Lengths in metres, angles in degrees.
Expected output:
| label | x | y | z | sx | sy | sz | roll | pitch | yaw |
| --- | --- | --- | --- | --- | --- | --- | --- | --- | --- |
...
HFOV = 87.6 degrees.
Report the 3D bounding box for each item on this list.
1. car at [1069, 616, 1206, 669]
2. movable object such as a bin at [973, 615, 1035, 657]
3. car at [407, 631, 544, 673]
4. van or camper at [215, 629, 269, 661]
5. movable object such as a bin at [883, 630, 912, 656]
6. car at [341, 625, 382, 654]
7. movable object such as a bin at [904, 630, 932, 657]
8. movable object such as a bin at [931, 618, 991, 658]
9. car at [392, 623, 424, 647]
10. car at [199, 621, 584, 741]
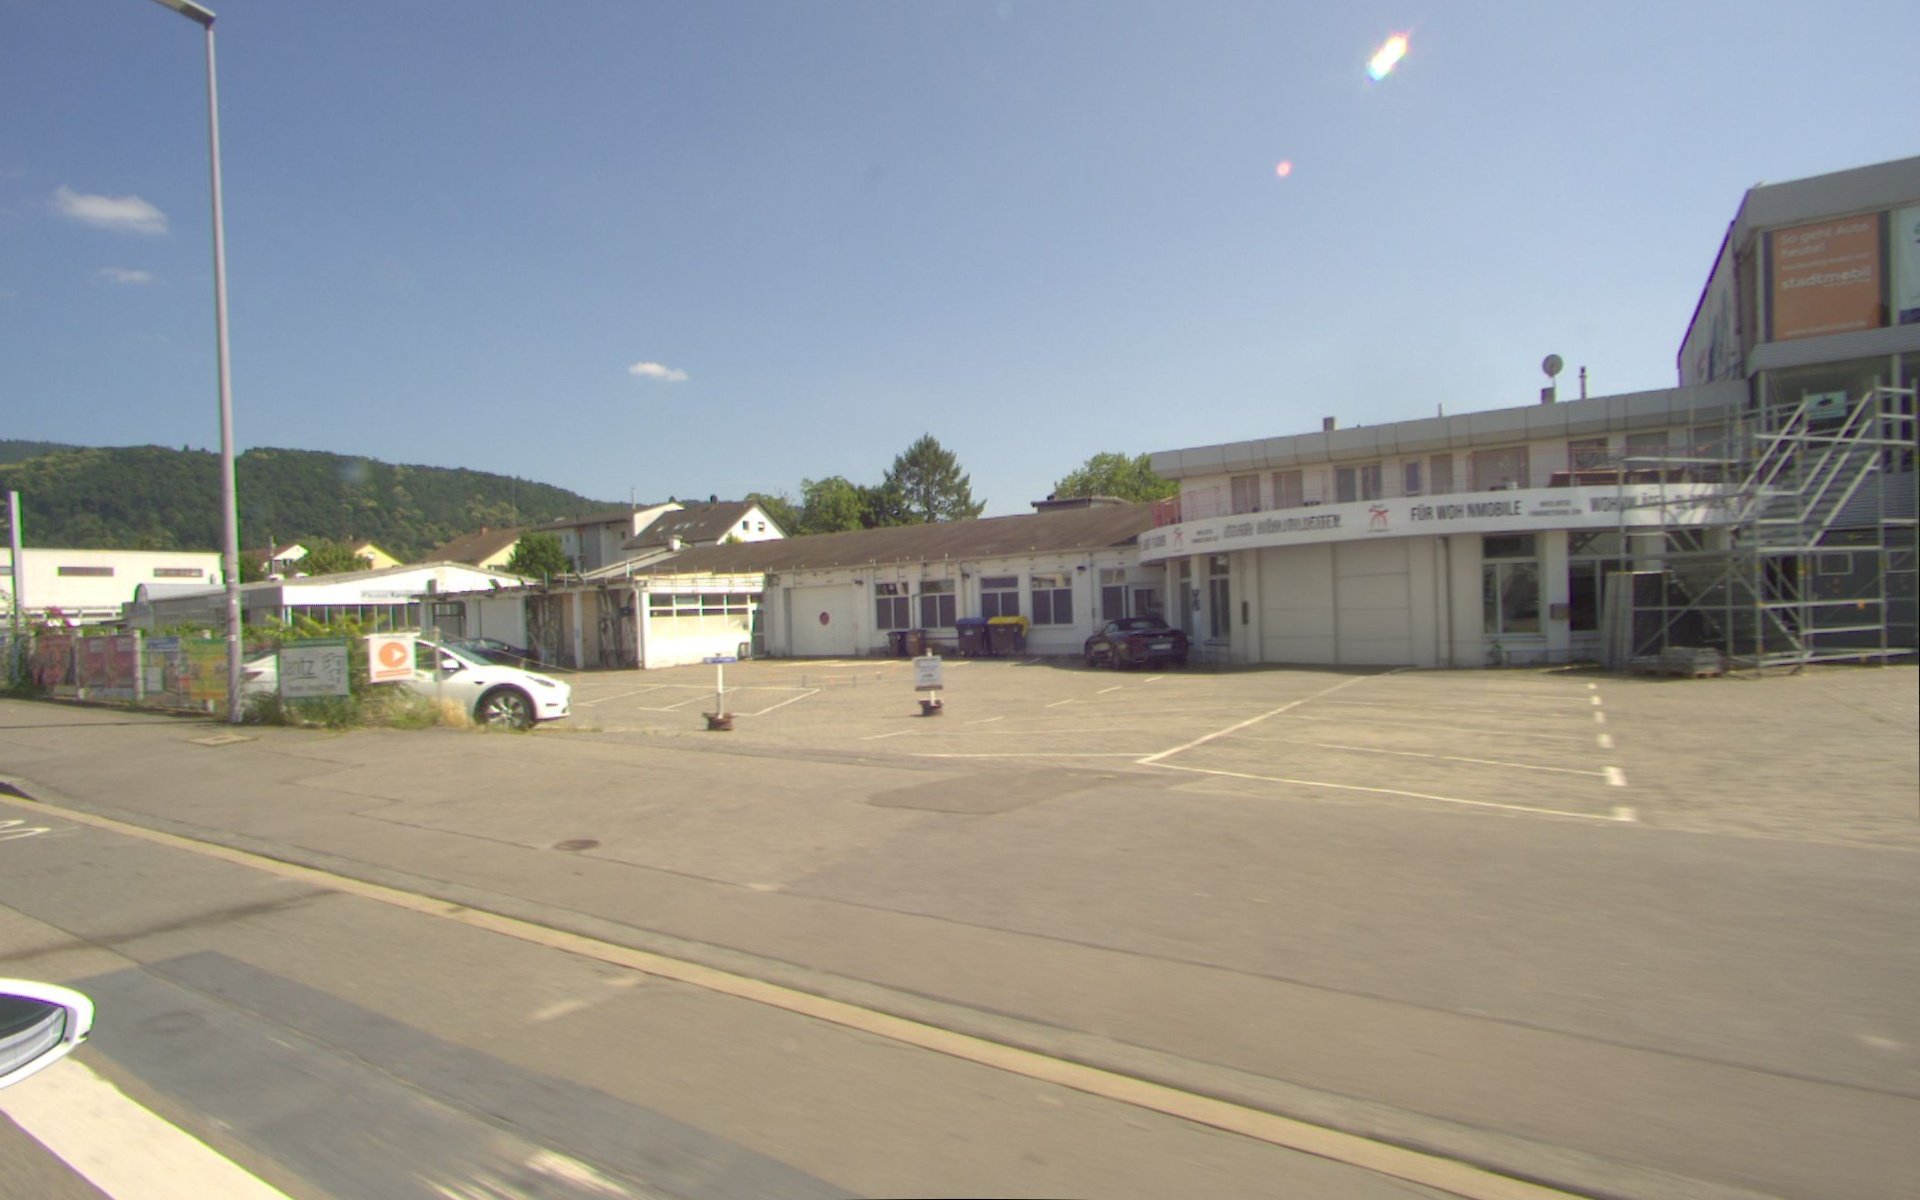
| label | x | y | z | sx | sy | sz | roll | pitch | yaw |
| --- | --- | --- | --- | --- | --- | --- | --- | --- | --- |
| car | 4.696 | 1.165 | 27.288 | 1.861 | 1.306 | 4.550 | 0 | -3 | -16 |
| movable object such as a bin | 1.622 | 1.305 | 36.795 | 1.797 | 1.474 | 1.569 | -1 | -1 | 28 |
| car | -18.660 | 1.964 | 38.761 | 2.091 | 1.416 | 4.315 | -2 | -1 | 36 |
| van or camper | -40.756 | 2.556 | 56.917 | 1.971 | 1.563 | 4.208 | -6 | 1 | -31 |
| movable object such as a bin | -2.487 | 1.714 | 39.871 | 0.863 | 1.005 | 0.745 | -1 | 0 | 28 |
| car | -37.174 | 2.420 | 62.256 | 1.970 | 1.669 | 3.981 | 1 | -1 | -28 |
| movable object such as a bin | -1.648 | 1.697 | 39.376 | 0.863 | 1.050 | 0.745 | -1 | 0 | 28 |
| movable object such as a bin | 0.032 | 1.414 | 37.676 | 1.728 | 1.474 | 1.569 | -1 | -1 | 28 |
| car | -35.832 | 2.306 | 65.054 | 1.768 | 1.482 | 3.809 | 1 | -3 | -28 |
| car | -8.754 | 1.278 | 15.989 | 4.956 | 1.639 | 2.024 | -1 | -5 | -15 |
